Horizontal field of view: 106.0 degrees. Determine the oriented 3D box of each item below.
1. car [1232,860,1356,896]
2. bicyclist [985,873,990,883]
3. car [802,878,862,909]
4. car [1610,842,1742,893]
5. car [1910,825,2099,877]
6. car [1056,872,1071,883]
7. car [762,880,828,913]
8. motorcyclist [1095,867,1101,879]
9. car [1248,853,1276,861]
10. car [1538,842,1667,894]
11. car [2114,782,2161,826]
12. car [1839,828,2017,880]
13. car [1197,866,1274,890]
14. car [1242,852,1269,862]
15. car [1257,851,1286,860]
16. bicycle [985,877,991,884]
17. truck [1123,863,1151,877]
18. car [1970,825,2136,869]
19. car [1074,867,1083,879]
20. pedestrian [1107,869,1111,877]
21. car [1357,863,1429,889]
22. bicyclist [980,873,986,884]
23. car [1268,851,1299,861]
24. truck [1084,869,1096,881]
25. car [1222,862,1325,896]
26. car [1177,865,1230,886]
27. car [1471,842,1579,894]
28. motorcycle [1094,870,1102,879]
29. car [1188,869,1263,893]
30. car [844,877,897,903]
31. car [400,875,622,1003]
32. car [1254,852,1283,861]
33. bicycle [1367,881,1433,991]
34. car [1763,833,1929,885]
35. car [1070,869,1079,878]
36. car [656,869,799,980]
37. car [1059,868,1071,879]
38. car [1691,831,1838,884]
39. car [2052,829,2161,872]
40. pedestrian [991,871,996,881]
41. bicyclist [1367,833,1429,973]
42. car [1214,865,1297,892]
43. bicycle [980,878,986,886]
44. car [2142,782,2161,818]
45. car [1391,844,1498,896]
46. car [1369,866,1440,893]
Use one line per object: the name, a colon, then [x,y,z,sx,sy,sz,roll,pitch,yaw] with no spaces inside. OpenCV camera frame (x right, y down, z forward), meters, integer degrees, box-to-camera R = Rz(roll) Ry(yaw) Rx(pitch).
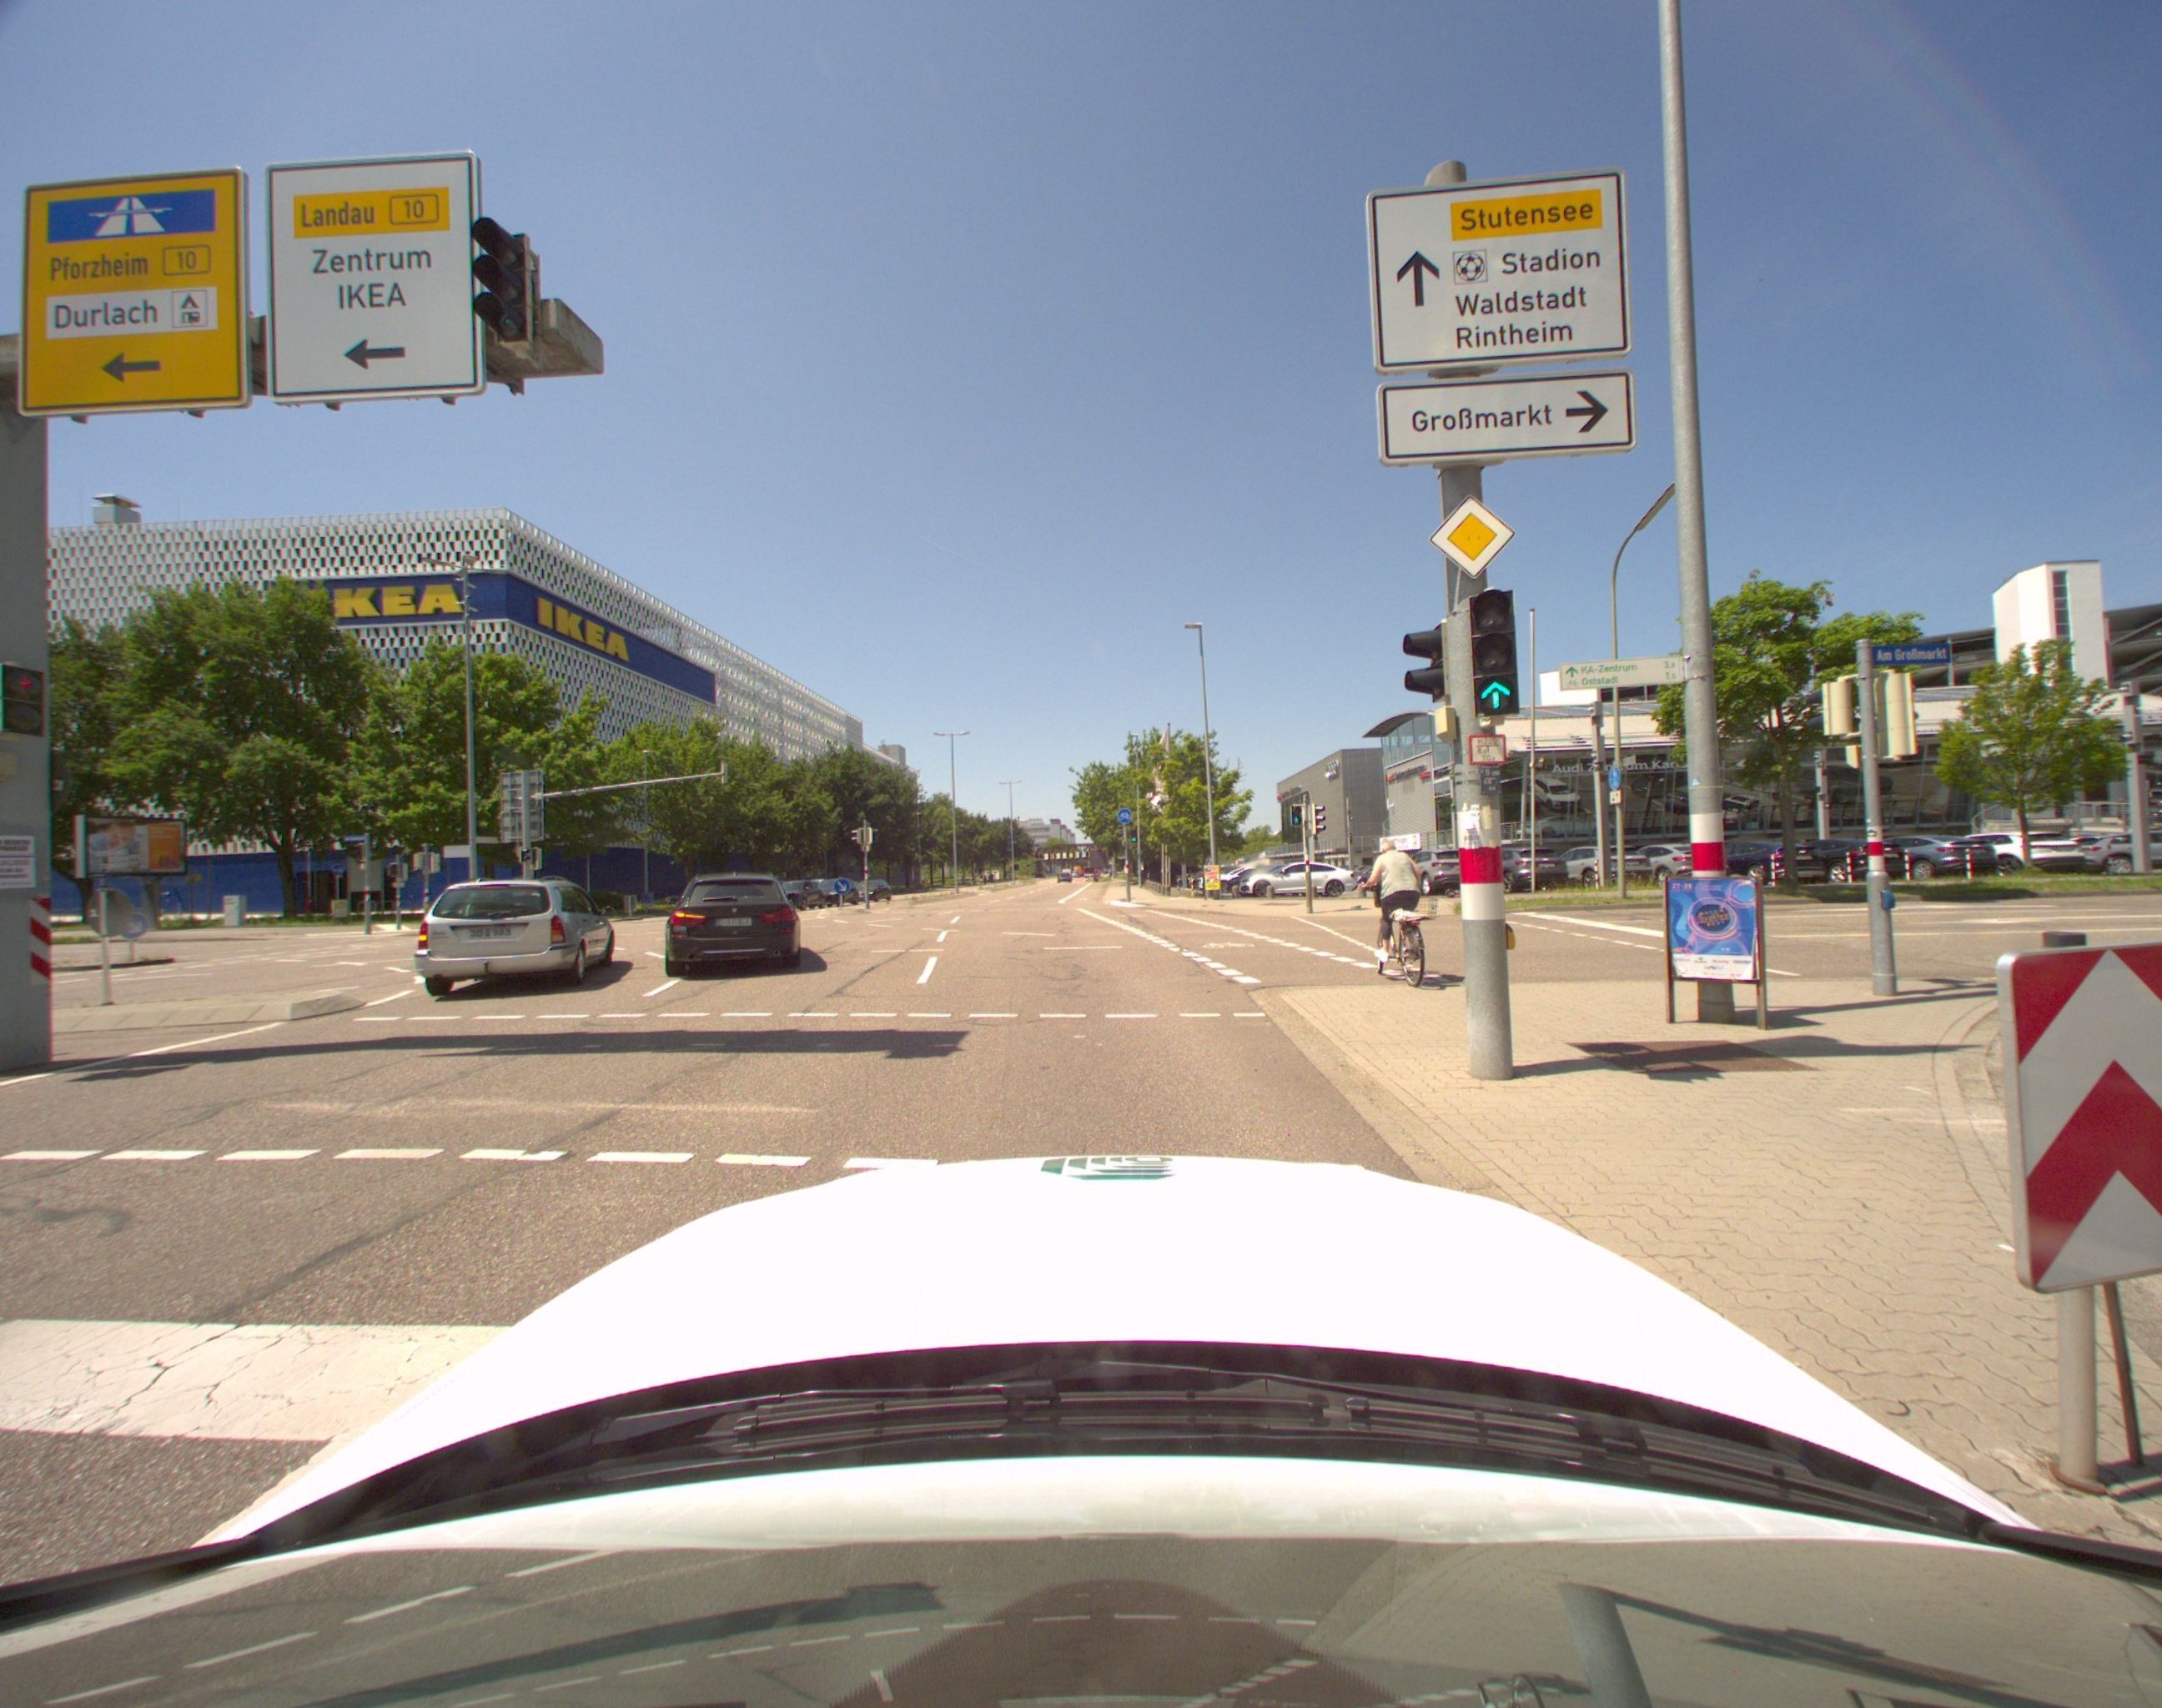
car: [8.498,0.955,32.739,4.572,1.390,1.870,0,-1,3]
bicyclist: [-16.201,4.113,141.230,0.631,1.629,1.045,-4,-2,1]
car: [-13.631,2.125,44.777,1.720,1.505,4.245,-4,-2,3]
car: [20.300,0.426,27.998,1.632,1.616,3.815,-1,0,-2]
car: [31.251,-0.047,27.756,1.840,1.654,3.994,0,-1,-2]
car: [-2.392,3.312,115.127,1.894,1.376,4.232,-2,-1,1]
car: [-13.621,2.000,39.015,1.637,1.389,3.717,-4,-2,3]
motorcyclist: [2.177,2.493,105.521,0.719,1.529,0.868,0,-2,-8]
car: [28.574,0.468,128.366,3.977,1.312,1.795,0,-1,-3]
car: [17.928,0.497,28.245,1.840,1.654,3.994,0,-1,-2]
car: [45.782,-2.118,33.209,4.552,1.707,1.916,-2,-1,4]
car: [28.602,0.047,27.714,1.840,1.654,3.994,0,-1,-2]
car: [8.675,1.341,45.995,4.084,1.349,1.869,0,-1,1]
car: [28.049,0.463,131.094,3.977,1.312,1.795,-2,-1,-3]
car: [27.449,0.231,117.209,3.715,1.131,1.682,0,-1,-3]
bicycle: [-16.168,4.606,141.247,0.626,1.159,2.118,-4,-1,1]
truck: [11.730,3.287,170.863,5.586,2.851,2.619,0,-1,-5]
car: [39.963,-0.253,33.628,3.947,1.571,1.862,-3,-2,32]
car: [-0.593,4.807,202.728,2.065,2.855,6.765,-2,-1,1]
pedestrian: [4.950,3.397,143.908,0.621,1.375,0.564,-2,-1,0]
car: [19.547,1.373,51.125,3.967,1.573,1.634,0,-1,1]
bicyclist: [-15.804,3.955,131.320,0.743,1.686,0.951,-2,-1,-2]
car: [28.570,0.289,114.991,3.977,1.312,1.795,0,-1,-3]
truck: [1.888,4.458,173.506,2.449,2.410,7.136,0,-1,2]
car: [8.284,1.080,35.322,4.080,1.390,1.869,0,-1,1]
car: [8.944,1.565,59.626,3.667,1.453,1.834,0,-1,1]
car: [15.197,0.495,28.153,1.835,1.654,4.003,0,-1,5]
motorcycle: [2.168,2.697,105.503,0.716,1.105,1.825,0,-2,-8]
car: [8.586,1.625,48.735,4.210,1.390,1.869,0,-1,1]
car: [-13.370,2.275,51.954,1.718,1.446,4.725,-4,-2,5]
car: [-7.950,1.060,11.784,1.698,1.422,3.980,-1,-1,-21]
car: [27.709,0.312,120.298,3.930,1.211,1.715,-1,-1,-3]
bicycle: [3.815,0.926,9.845,0.623,1.133,1.904,-1,-1,18]
car: [25.973,0.194,27.863,1.840,1.654,3.994,0,-1,-2]
car: [-1.376,4.358,182.493,1.888,1.816,4.001,-2,-1,1]
car: [-5.660,1.011,13.370,1.804,1.441,4.524,-1,-1,-21]
car: [-3.019,3.650,150.221,1.986,2.014,4.000,-1,-1,1]
car: [23.150,0.156,27.788,1.624,1.654,3.907,-1,-1,-2]
car: [39.617,-0.186,29.982,4.531,1.472,1.925,-3,-1,26]
pedestrian: [-17.833,4.449,165.746,0.741,1.884,0.578,-2,-2,2]
bicyclist: [3.825,0.575,9.875,0.623,1.606,0.829,-1,-1,18]
car: [9.176,1.283,43.038,4.080,1.364,1.875,0,-1,1]
bicycle: [-15.781,4.501,131.378,0.737,1.125,2.432,-2,-1,-2]
car: [53.701,-2.704,38.358,1.905,1.722,4.142,-2,-1,-5]
car: [12.525,0.610,28.418,1.860,1.558,4.506,-3,-3,3]
car: [19.282,1.520,48.646,3.633,1.581,1.643,0,-1,1]
